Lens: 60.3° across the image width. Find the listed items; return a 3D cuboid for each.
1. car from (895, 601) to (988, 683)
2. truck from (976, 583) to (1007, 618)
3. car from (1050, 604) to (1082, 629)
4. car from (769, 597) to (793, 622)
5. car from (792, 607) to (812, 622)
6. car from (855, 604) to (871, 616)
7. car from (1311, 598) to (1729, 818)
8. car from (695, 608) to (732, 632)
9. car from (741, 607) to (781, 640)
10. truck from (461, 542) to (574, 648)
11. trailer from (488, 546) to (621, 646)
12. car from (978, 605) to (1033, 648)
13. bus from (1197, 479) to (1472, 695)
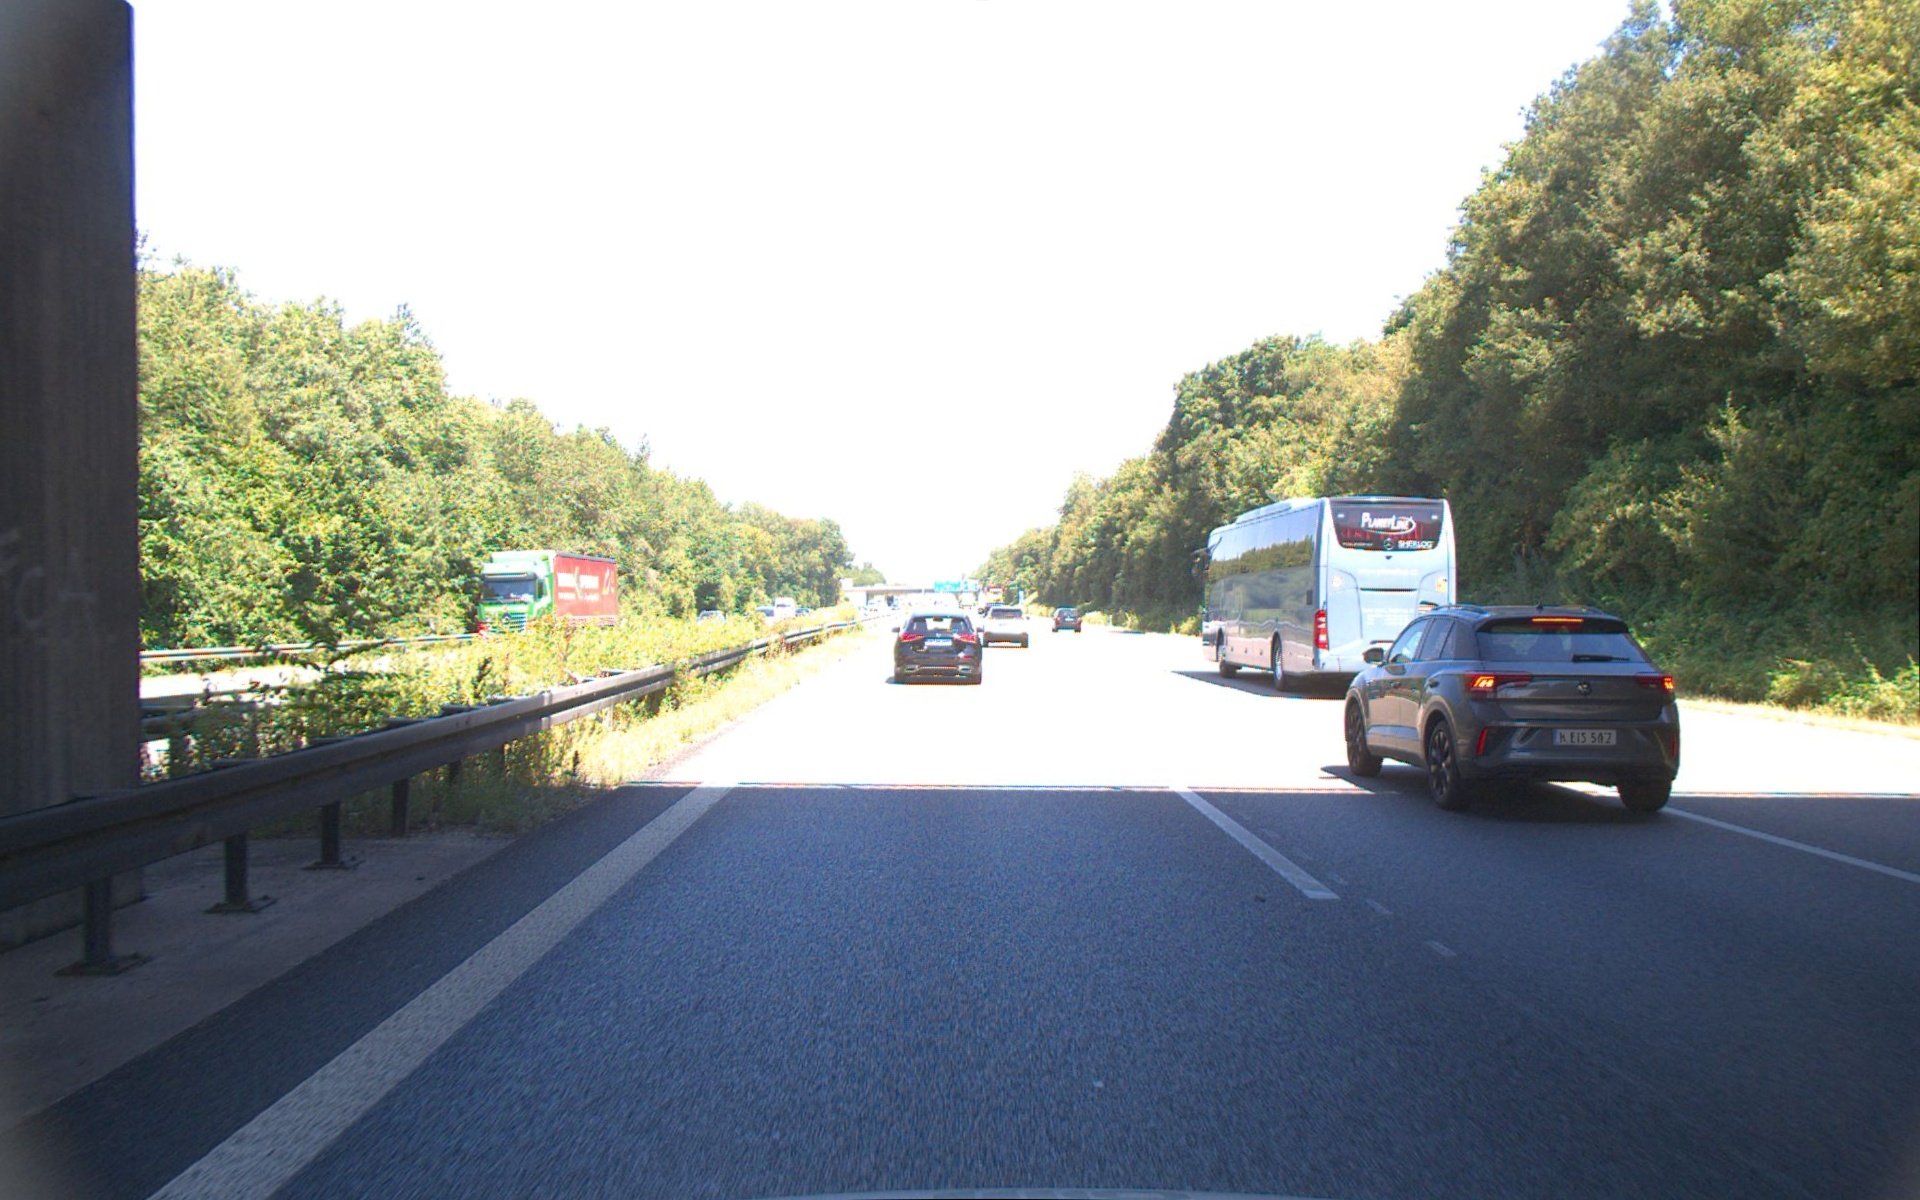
[{"bbox_3d":[-0.417,0.798,33.555,1.763,1.528,4.240,1,0,-2],"label":"car"},{"bbox_3d":[4.305,0.095,231.181,3.574,4.670,15.760,1,0,-2],"label":"truck"},{"bbox_3d":[6.559,0.993,102.582,1.753,1.487,3.949,1,0,0],"label":"car"},{"bbox_3d":[-19.476,0.997,180.189,2.045,2.597,6.226,-1,0,-1],"label":"car"},{"bbox_3d":[-15.665,1.416,164.292,1.634,1.427,4.704,-1,0,-2],"label":"car"},{"bbox_3d":[-12.254,1.274,209.754,1.801,1.407,4.427,-1,0,-1],"label":"car"},{"bbox_3d":[4.523,0.776,14.239,1.861,1.559,4.758,1,0,-2],"label":"car"},{"bbox_3d":[-16.298,1.301,109.408,1.811,1.475,4.870,-1,0,-2],"label":"car"},{"bbox_3d":[-9.793,1.132,81.732,1.634,1.538,4.517,-1,0,-3],"label":"car"},{"bbox_3d":[-18.095,-0.190,67.992,3.152,4.130,5.616,-1,0,-1],"label":"truck"},{"bbox_3d":[-18.252,-0.153,75.438,3.152,4.130,12.738,-1,0,-1],"label":"trailer"},{"bbox_3d":[1.708,0.985,63.461,1.861,1.559,4.240,1,0,-2],"label":"car"},{"bbox_3d":[7.281,-0.208,34.400,2.745,3.659,12.472,0,0,-1],"label":"bus"}]
